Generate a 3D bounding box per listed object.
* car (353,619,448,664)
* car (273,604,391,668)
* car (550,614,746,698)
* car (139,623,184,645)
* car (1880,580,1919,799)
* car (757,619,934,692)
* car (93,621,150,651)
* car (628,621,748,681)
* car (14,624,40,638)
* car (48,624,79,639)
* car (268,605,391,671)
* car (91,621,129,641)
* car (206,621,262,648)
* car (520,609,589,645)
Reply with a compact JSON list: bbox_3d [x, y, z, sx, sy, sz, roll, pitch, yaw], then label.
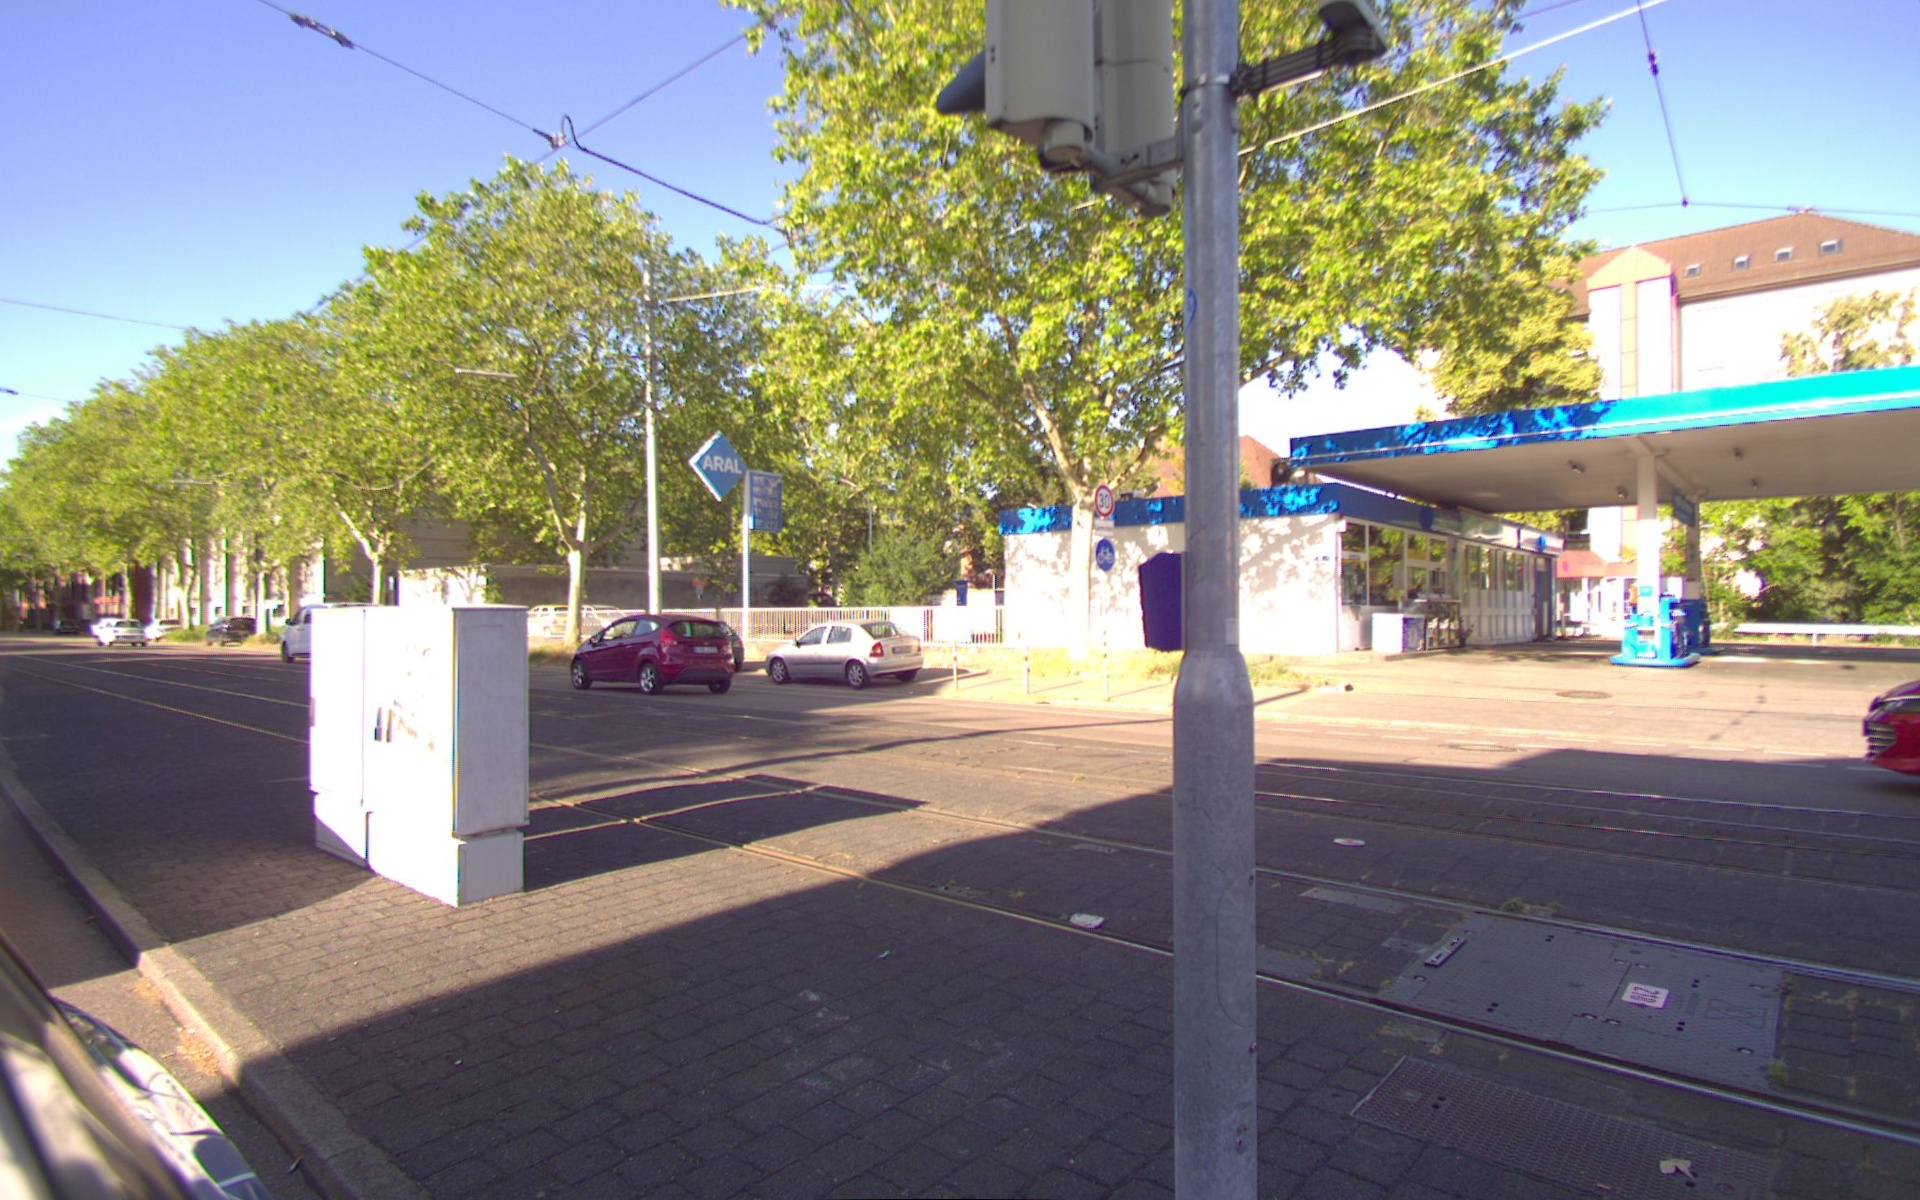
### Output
[{"bbox_3d":[-22.241,1.602,40.139,4.431,1.534,1.731,-1,3,40],"label":"car"},{"bbox_3d":[-19.744,1.088,31.764,4.390,1.860,1.827,-1,-2,39],"label":"car"},{"bbox_3d":[-5.972,1.006,19.166,3.998,1.431,1.678,-1,-3,41],"label":"car"},{"bbox_3d":[-53.812,2.298,68.189,3.998,1.420,1.678,-1,-2,41],"label":"car"},{"bbox_3d":[8.981,0.631,6.311,4.765,1.534,1.886,-1,-3,43],"label":"car"},{"bbox_3d":[-2.619,1.165,22.629,3.998,1.431,1.709,-1,0,41],"label":"car"},{"bbox_3d":[-45.322,1.937,54.677,3.998,1.507,1.741,-1,0,41],"label":"car"},{"bbox_3d":[-7.243,1.303,26.802,3.253,1.431,1.526,-1,0,41],"label":"car"},{"bbox_3d":[-103.271,3.404,111.992,3.998,1.420,1.678,-1,-2,41],"label":"car"},{"bbox_3d":[-85.186,2.985,96.151,3.998,1.420,1.678,-1,-2,41],"label":"car"},{"bbox_3d":[-19.953,1.227,31.927,5.111,1.889,1.863,-4,-2,41],"label":"car"},{"bbox_3d":[-66.814,2.424,79.536,3.998,1.569,1.678,-1,-2,41],"label":"car"},{"bbox_3d":[-40.602,1.894,56.566,3.998,1.420,1.678,-1,-2,41],"label":"car"},{"bbox_3d":[-16.834,1.100,42.008,3.151,1.431,1.525,-1,0,44],"label":"car"}]
